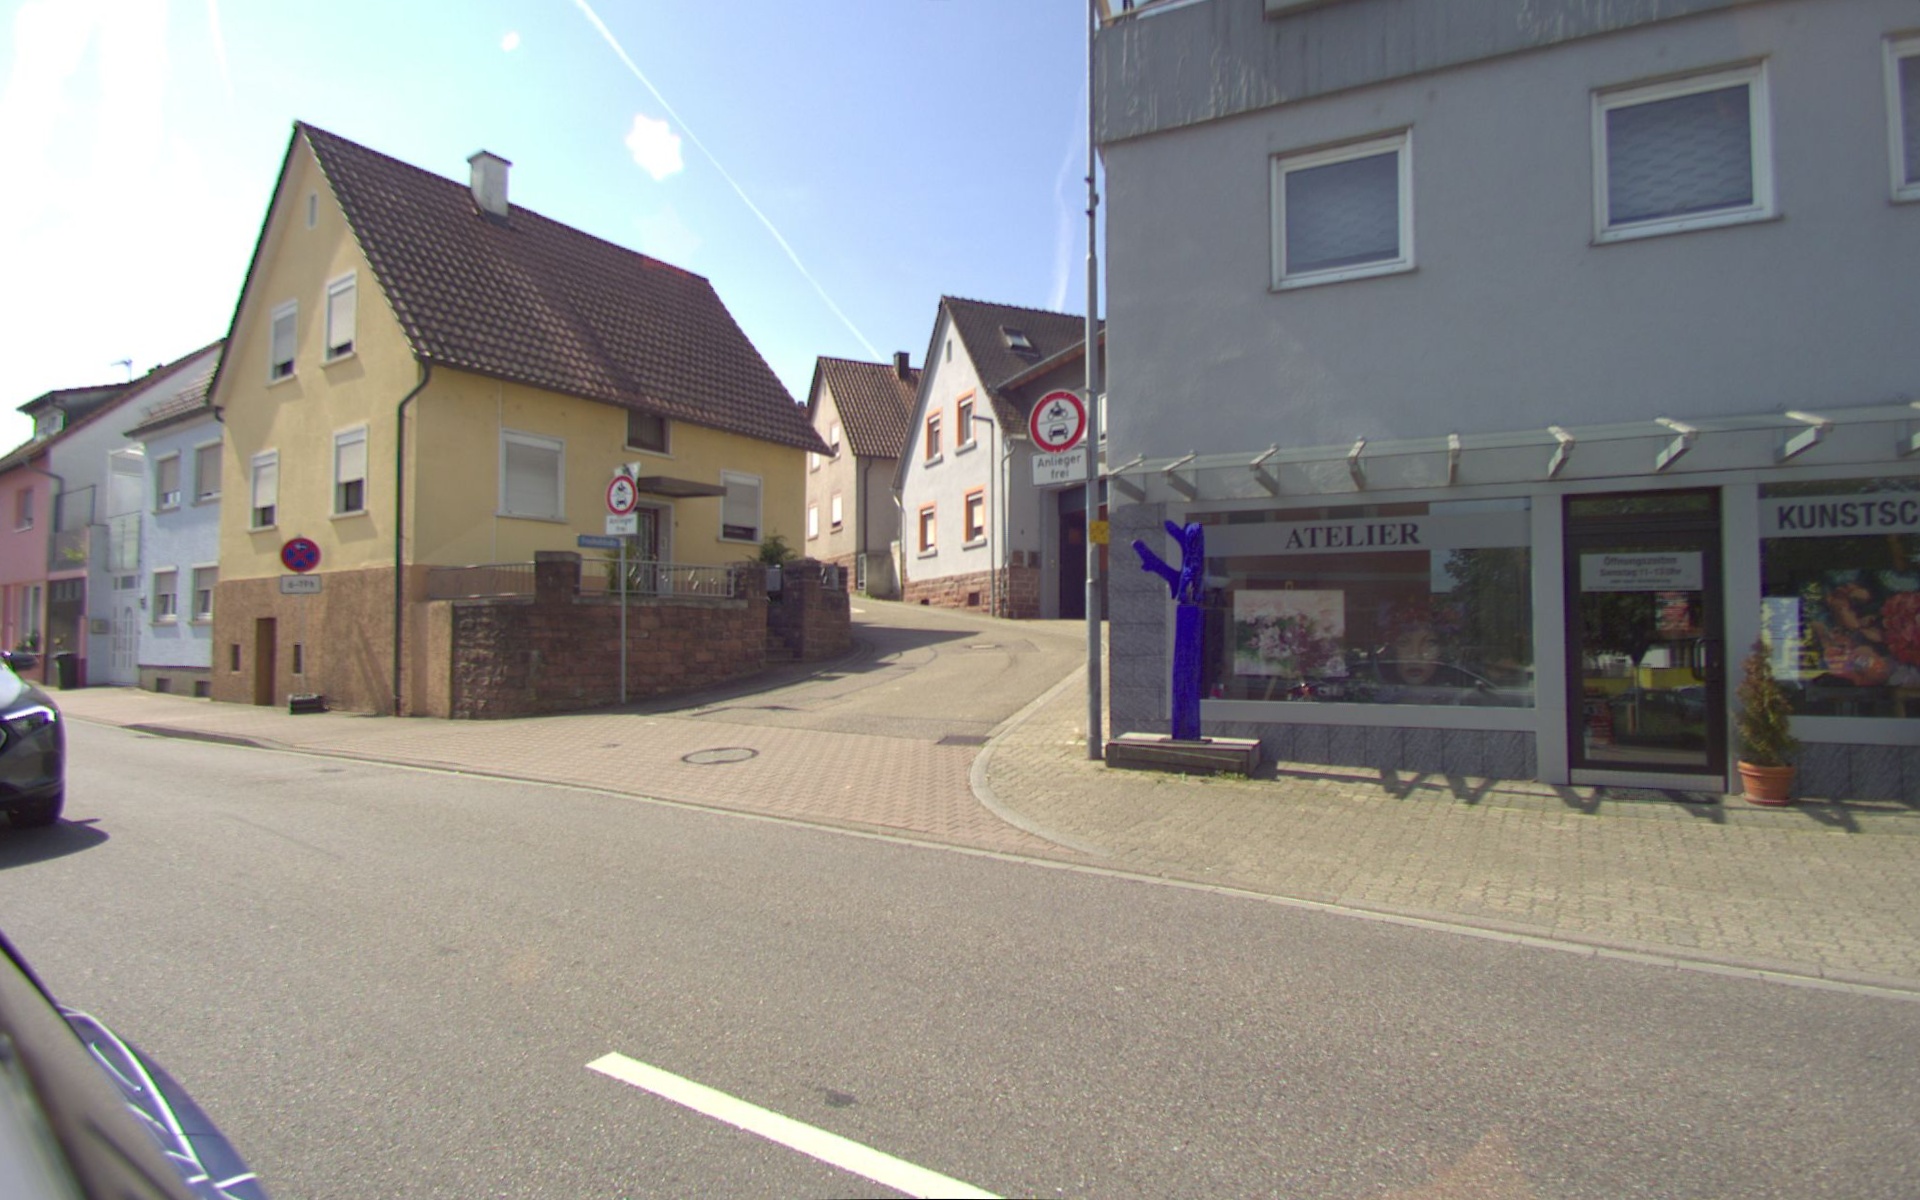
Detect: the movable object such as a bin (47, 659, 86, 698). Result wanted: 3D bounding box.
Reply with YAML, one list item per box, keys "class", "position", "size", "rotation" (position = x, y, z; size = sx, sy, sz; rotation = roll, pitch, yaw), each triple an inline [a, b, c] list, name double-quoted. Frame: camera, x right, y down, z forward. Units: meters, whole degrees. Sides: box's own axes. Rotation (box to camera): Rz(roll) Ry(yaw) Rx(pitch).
- class: "movable object such as a bin"
  position: [-22.145, 1.938, 25.094]
  size: [0.598, 0.886, 0.624]
  rotation: [-1, 0, 38]

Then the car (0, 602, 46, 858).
- class: "car"
  position: [-8.045, 0.868, 7.109]
  size: [4.284, 1.585, 1.717]
  rotation: [-2, -1, 38]
